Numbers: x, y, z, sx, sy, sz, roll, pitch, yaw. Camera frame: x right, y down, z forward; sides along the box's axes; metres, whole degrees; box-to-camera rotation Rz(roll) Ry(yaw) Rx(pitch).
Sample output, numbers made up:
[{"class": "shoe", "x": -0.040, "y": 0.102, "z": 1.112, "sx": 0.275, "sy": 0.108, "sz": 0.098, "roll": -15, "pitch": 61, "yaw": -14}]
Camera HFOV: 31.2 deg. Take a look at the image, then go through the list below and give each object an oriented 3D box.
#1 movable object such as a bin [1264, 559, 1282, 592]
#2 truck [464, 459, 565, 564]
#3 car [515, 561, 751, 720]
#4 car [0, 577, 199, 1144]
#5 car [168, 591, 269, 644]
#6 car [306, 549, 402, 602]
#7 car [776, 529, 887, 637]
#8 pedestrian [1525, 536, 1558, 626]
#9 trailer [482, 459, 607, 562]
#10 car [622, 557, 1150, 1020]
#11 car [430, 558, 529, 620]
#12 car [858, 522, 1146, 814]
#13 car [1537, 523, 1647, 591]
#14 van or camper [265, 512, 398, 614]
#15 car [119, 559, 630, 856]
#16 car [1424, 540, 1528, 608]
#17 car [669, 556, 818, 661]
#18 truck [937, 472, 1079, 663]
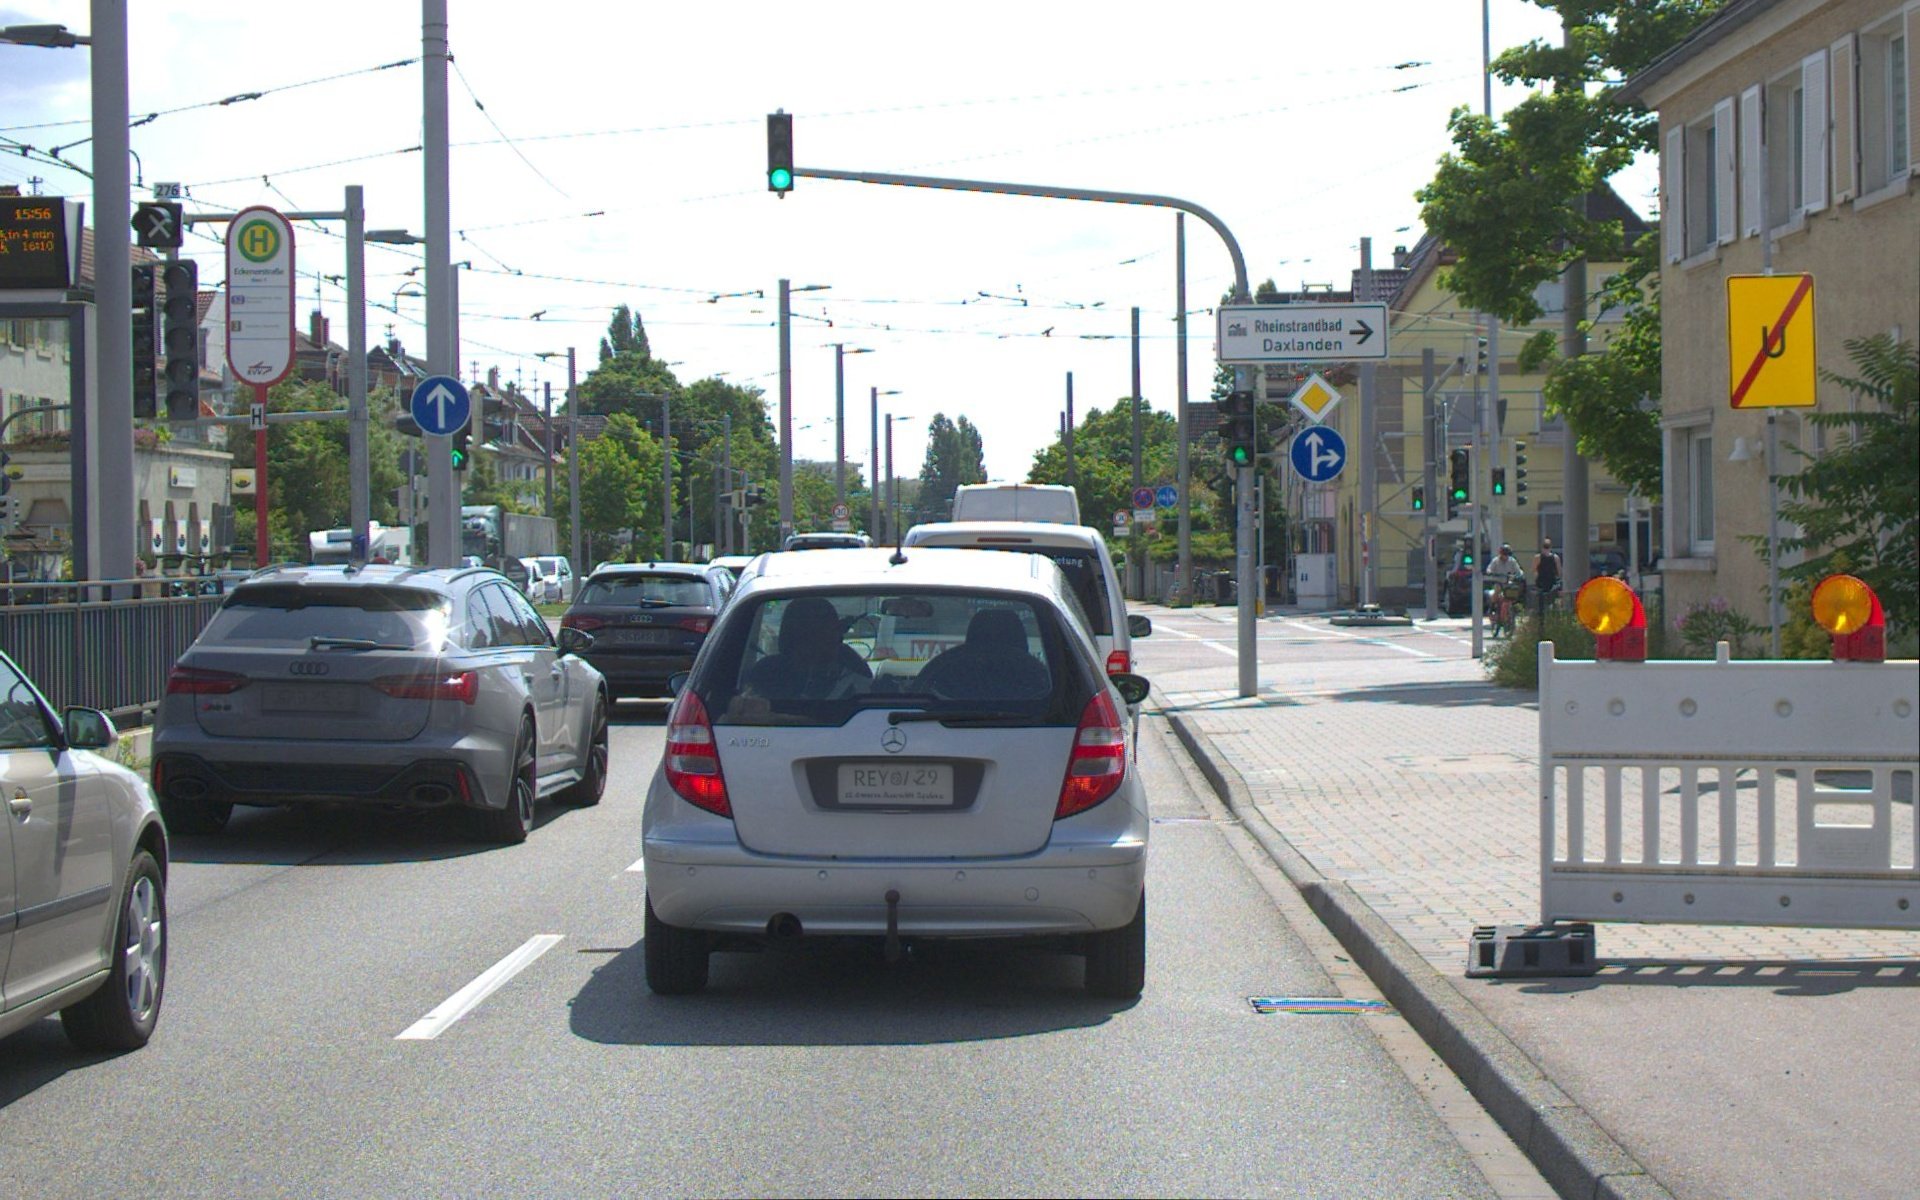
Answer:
[{"class": "movable object such as a bin", "x": 9.155, "y": -0.708, "z": 100.431, "sx": 0.468, "sy": 0.943, "sz": 0.558, "roll": -1, "pitch": 0, "yaw": 1}, {"class": "truck", "x": -17.023, "y": -3.388, "z": 131.772, "sx": 2.599, "sy": 3.808, "sz": 5.667, "roll": -3, "pitch": 1, "yaw": 4}, {"class": "car", "x": -3.045, "y": 0.353, "z": 32.810, "sx": 1.852, "sy": 1.384, "sz": 4.514, "roll": 1, "pitch": 0, "yaw": -1}, {"class": "car", "x": -3.303, "y": 0.654, "z": 8.876, "sx": 1.731, "sy": 1.444, "sz": 4.123, "roll": 1, "pitch": 0, "yaw": 0}, {"class": "car", "x": -19.661, "y": 0.438, "z": 91.300, "sx": 1.684, "sy": 1.347, "sz": 4.345, "roll": 1, "pitch": 0, "yaw": 1}, {"class": "car", "x": -16.005, "y": -0.651, "z": 90.986, "sx": 1.684, "sy": 1.347, "sz": 4.177, "roll": 1, "pitch": 0, "yaw": 2}, {"class": "car", "x": -2.255, "y": -0.307, "z": 61.316, "sx": 1.852, "sy": 1.837, "sz": 3.918, "roll": 1, "pitch": 0, "yaw": -1}, {"class": "pedestrian", "x": 10.751, "y": -0.349, "z": 63.539, "sx": 0.547, "sy": 1.638, "sz": 0.401, "roll": 1, "pitch": 0, "yaw": 6}, {"class": "trailer", "x": -16.611, "y": -3.596, "z": 138.384, "sx": 2.599, "sy": 3.808, "sz": 12.836, "roll": -3, "pitch": 1, "yaw": 3}, {"class": "car", "x": -0.284, "y": 0.617, "z": 13.407, "sx": 1.730, "sy": 1.512, "sz": 4.017, "roll": 1, "pitch": 0, "yaw": -1}, {"class": "car", "x": -14.718, "y": -0.362, "z": 105.524, "sx": 1.994, "sy": 1.770, "sz": 4.878, "roll": -2, "pitch": 1, "yaw": 4}, {"class": "car", "x": 0.215, "y": 0.404, "z": 22.936, "sx": 1.730, "sy": 1.756, "sz": 4.017, "roll": 1, "pitch": 0, "yaw": -1}, {"class": "car", "x": 15.376, "y": -1.026, "z": 83.820, "sx": 1.993, "sy": 1.590, "sz": 4.131, "roll": 1, "pitch": 0, "yaw": 1}, {"class": "van or camper", "x": -18.983, "y": -1.121, "z": 104.257, "sx": 2.324, "sy": 2.920, "sz": 7.754, "roll": -2, "pitch": 1, "yaw": 2}, {"class": "car", "x": -3.178, "y": 0.522, "z": 19.631, "sx": 1.916, "sy": 1.472, "sz": 4.562, "roll": 1, "pitch": 0, "yaw": 3}, {"class": "car", "x": 12.544, "y": -0.629, "z": 83.771, "sx": 1.993, "sy": 1.590, "sz": 4.131, "roll": 1, "pitch": 0, "yaw": 1}, {"class": "car", "x": -2.983, "y": 0.106, "z": 48.020, "sx": 1.852, "sy": 1.384, "sz": 3.918, "roll": 1, "pitch": 0, "yaw": -1}, {"class": "truck", "x": 0.628, "y": -0.454, "z": 49.178, "sx": 1.852, "sy": 2.543, "sz": 5.855, "roll": 1, "pitch": 0, "yaw": -1}]
